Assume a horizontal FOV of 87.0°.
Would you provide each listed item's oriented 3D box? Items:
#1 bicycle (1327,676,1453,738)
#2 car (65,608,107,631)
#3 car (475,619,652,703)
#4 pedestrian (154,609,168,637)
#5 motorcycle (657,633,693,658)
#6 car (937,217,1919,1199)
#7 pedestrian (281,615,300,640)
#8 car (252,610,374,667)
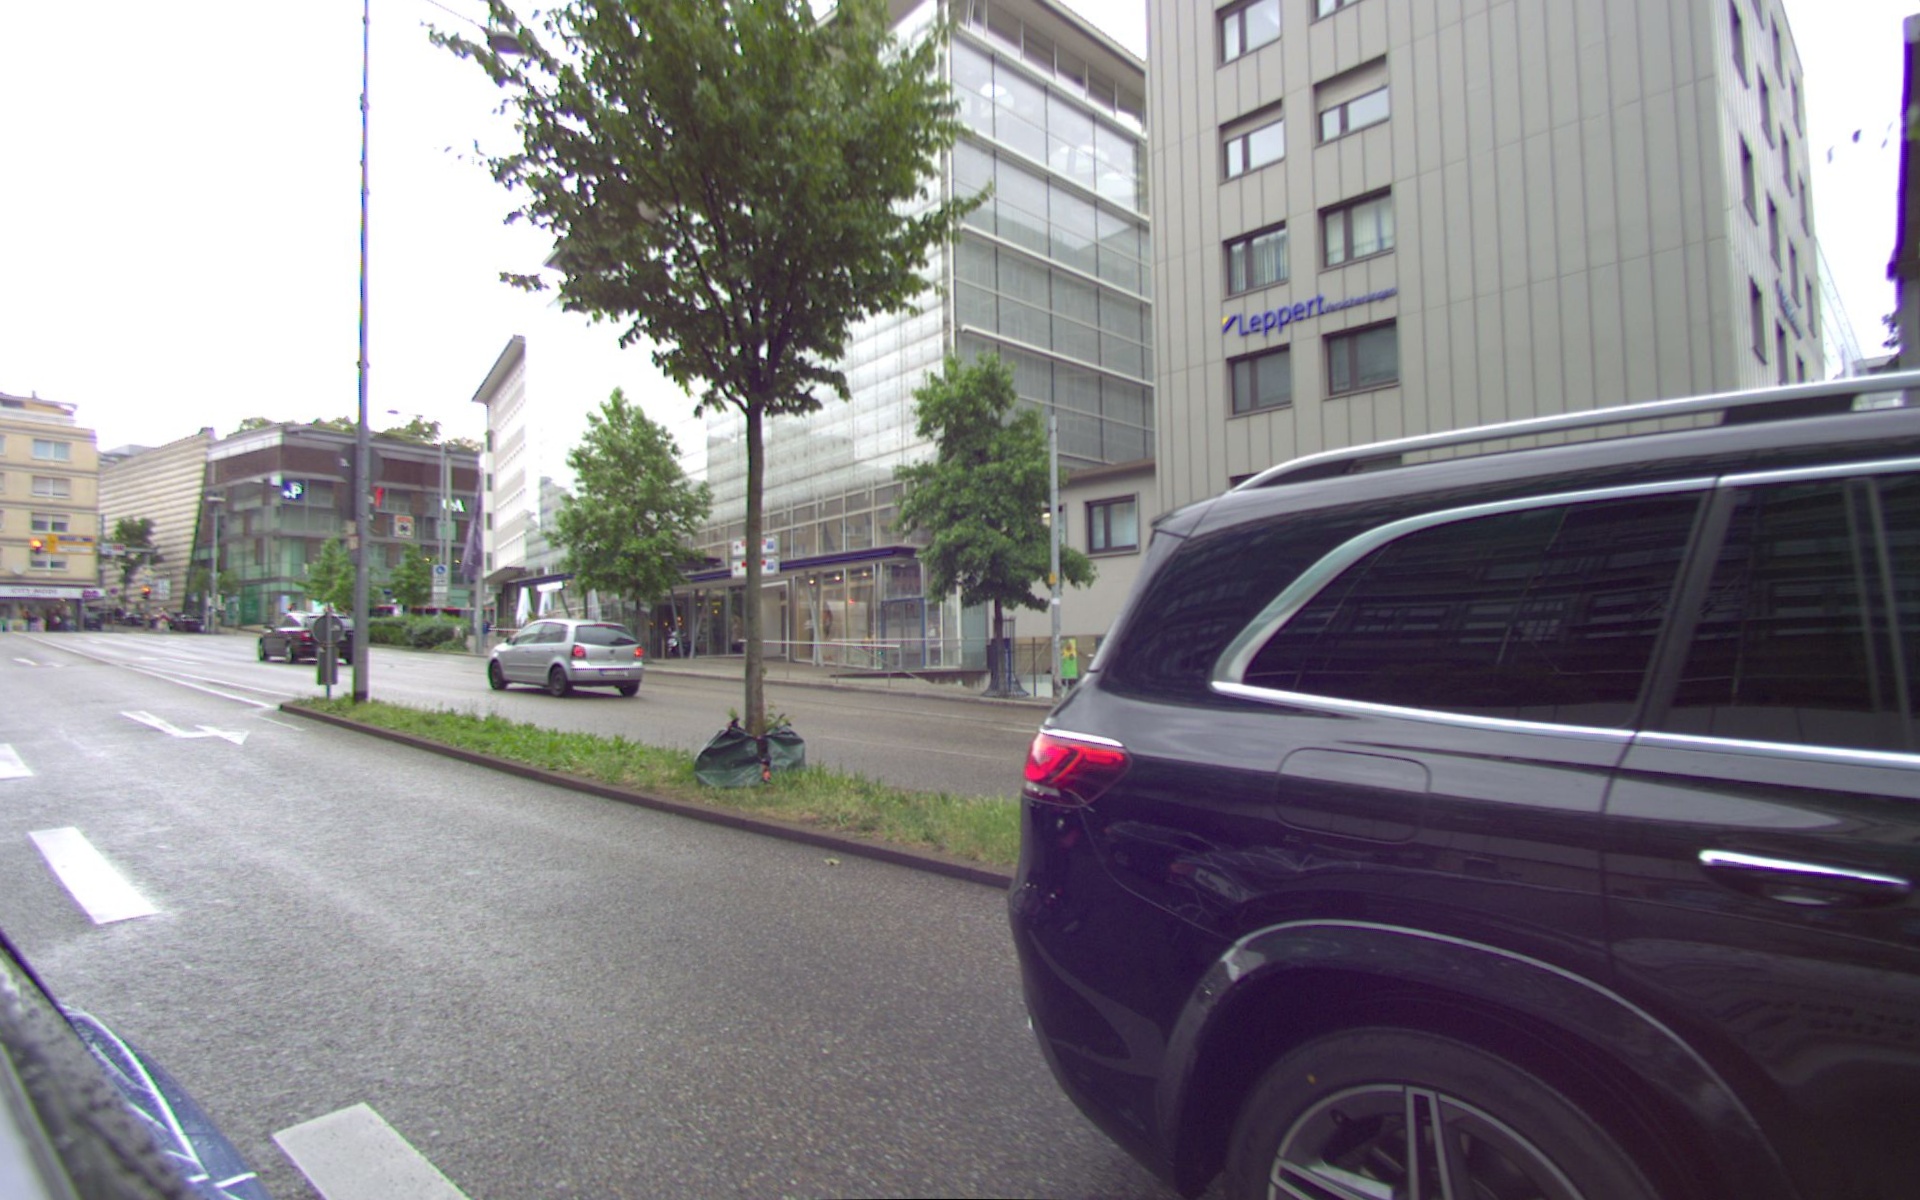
[{"bbox_3d":[9.932,2.450,23.467,2.574,1.275,0.678,-2,-2,42],"label":"bicycle"},{"bbox_3d":[-81.356,1.812,94.205,3.988,2.029,1.978,0,0,33],"label":"car"},{"bbox_3d":[-7.771,1.126,19.710,3.643,1.448,1.609,0,-2,39],"label":"car"},{"bbox_3d":[-54.004,1.524,68.393,0.588,1.855,0.598,-1,0,40],"label":"pedestrian"},{"bbox_3d":[-13.137,2.108,46.707,1.549,1.080,0.418,4,-3,-41],"label":"motorcycle"},{"bbox_3d":[2.448,0.424,1.431,4.881,1.791,1.974,0,0,40],"label":"car"},{"bbox_3d":[-51.744,2.121,78.183,0.735,1.913,0.978,-1,0,23],"label":"pedestrian"},{"bbox_3d":[-18.942,1.083,29.572,4.185,1.520,1.972,0,-2,43],"label":"car"}]
